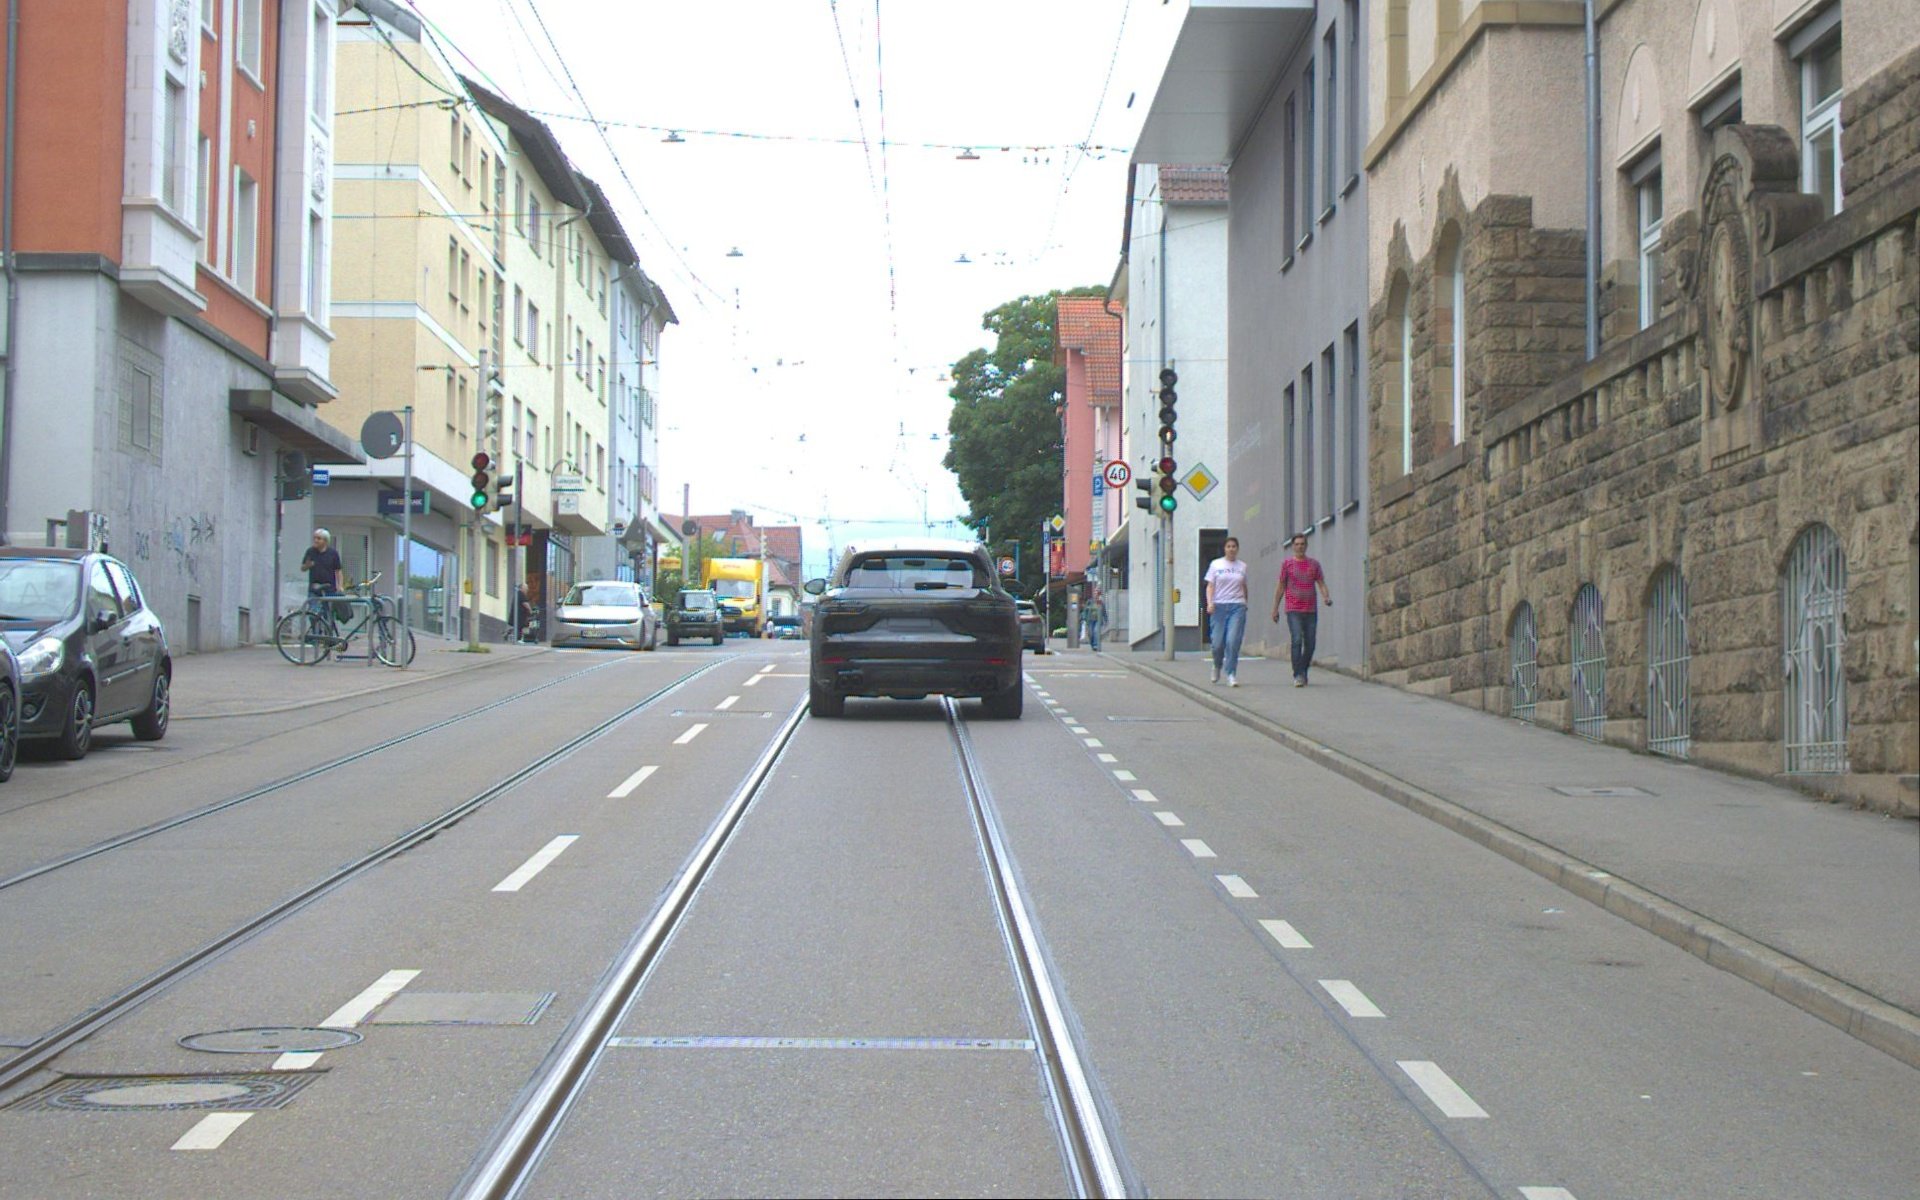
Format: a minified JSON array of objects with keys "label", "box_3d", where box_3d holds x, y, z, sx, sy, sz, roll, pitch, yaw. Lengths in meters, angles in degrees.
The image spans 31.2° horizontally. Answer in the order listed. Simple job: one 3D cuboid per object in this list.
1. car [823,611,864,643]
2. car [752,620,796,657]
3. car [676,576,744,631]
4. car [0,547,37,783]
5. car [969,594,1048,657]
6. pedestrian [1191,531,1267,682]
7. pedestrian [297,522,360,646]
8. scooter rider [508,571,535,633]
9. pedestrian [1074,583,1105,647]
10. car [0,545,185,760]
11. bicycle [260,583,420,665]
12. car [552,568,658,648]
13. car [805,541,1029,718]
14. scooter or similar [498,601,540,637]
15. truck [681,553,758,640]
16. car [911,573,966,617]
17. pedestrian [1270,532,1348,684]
[{"label":"car","box_3d":[-5.987,1.390,176.979,1.993,1.558,4.290,1,1,0]},{"label":"car","box_3d":[-8.670,1.806,160.422,1.855,1.601,4.297,1,1,-1]},{"label":"car","box_3d":[-7.631,0.104,105.301,1.855,1.601,4.297,1,1,-1]},{"label":"car","box_3d":[-6.708,0.403,19.698,1.712,1.441,4.290,1,1,0]},{"label":"car","box_3d":[1.254,0.656,91.120,1.993,1.558,4.290,1,1,0]},{"label":"pedestrian","box_3d":[2.998,0.070,38.391,0.791,1.661,0.798,1,1,2]},{"label":"pedestrian","box_3d":[-9.161,-0.235,49.912,0.775,1.770,0.650,1,1,0]},{"label":"scooter rider","box_3d":[-11.209,0.044,87.899,0.648,1.580,0.766,1,1,-5]},{"label":"pedestrian","box_3d":[3.370,0.392,89.661,0.791,1.661,0.798,1,1,2]},{"label":"car","box_3d":[-6.795,0.324,24.944,1.515,1.441,3.710,1,1,0]},{"label":"bicycle","box_3d":[-7.776,0.295,43.131,1.911,0.996,0.479,1,1,0]},{"label":"car","box_3d":[-7.494,0.140,72.861,1.855,1.601,4.297,1,1,-1]},{"label":"car","box_3d":[-0.406,0.236,32.962,1.993,1.558,4.290,1,1,0]},{"label":"scooter or similar","box_3d":[-11.259,0.480,87.809,1.027,0.916,0.473,1,1,-5]},{"label":"truck","box_3d":[-8.738,-0.136,125.568,2.302,3.026,9.034,1,0,-1]},{"label":"car","box_3d":[-0.791,-0.196,126.848,1.993,1.558,4.290,1,1,0]},{"label":"pedestrian","box_3d":[3.895,0.084,38.397,0.791,1.661,0.798,1,1,2]}]
